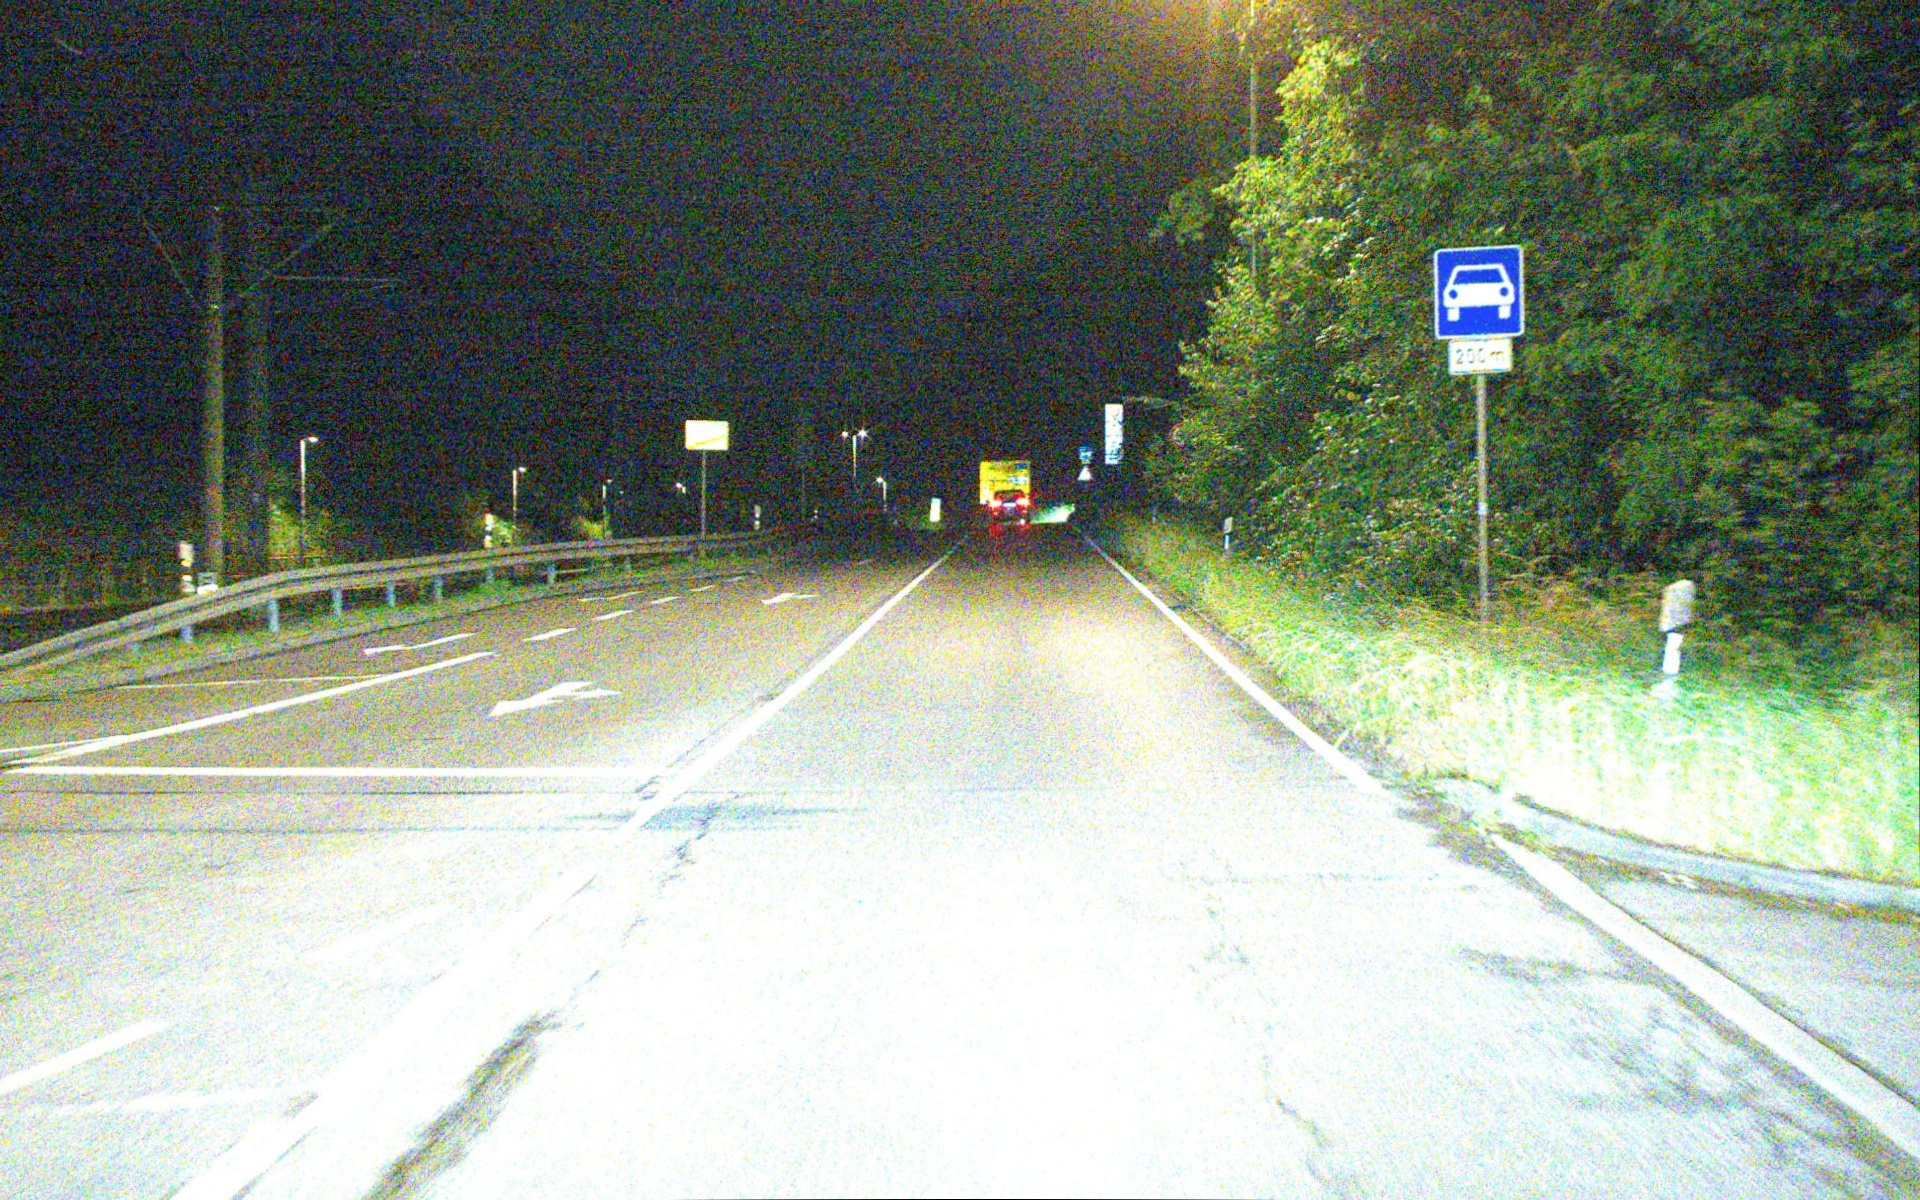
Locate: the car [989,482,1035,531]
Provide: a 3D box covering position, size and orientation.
[{"bbox_3d":[2.324,-4.230,155.358,1.993,2.007,4.000,1,-1,0],"label":"car"}]
